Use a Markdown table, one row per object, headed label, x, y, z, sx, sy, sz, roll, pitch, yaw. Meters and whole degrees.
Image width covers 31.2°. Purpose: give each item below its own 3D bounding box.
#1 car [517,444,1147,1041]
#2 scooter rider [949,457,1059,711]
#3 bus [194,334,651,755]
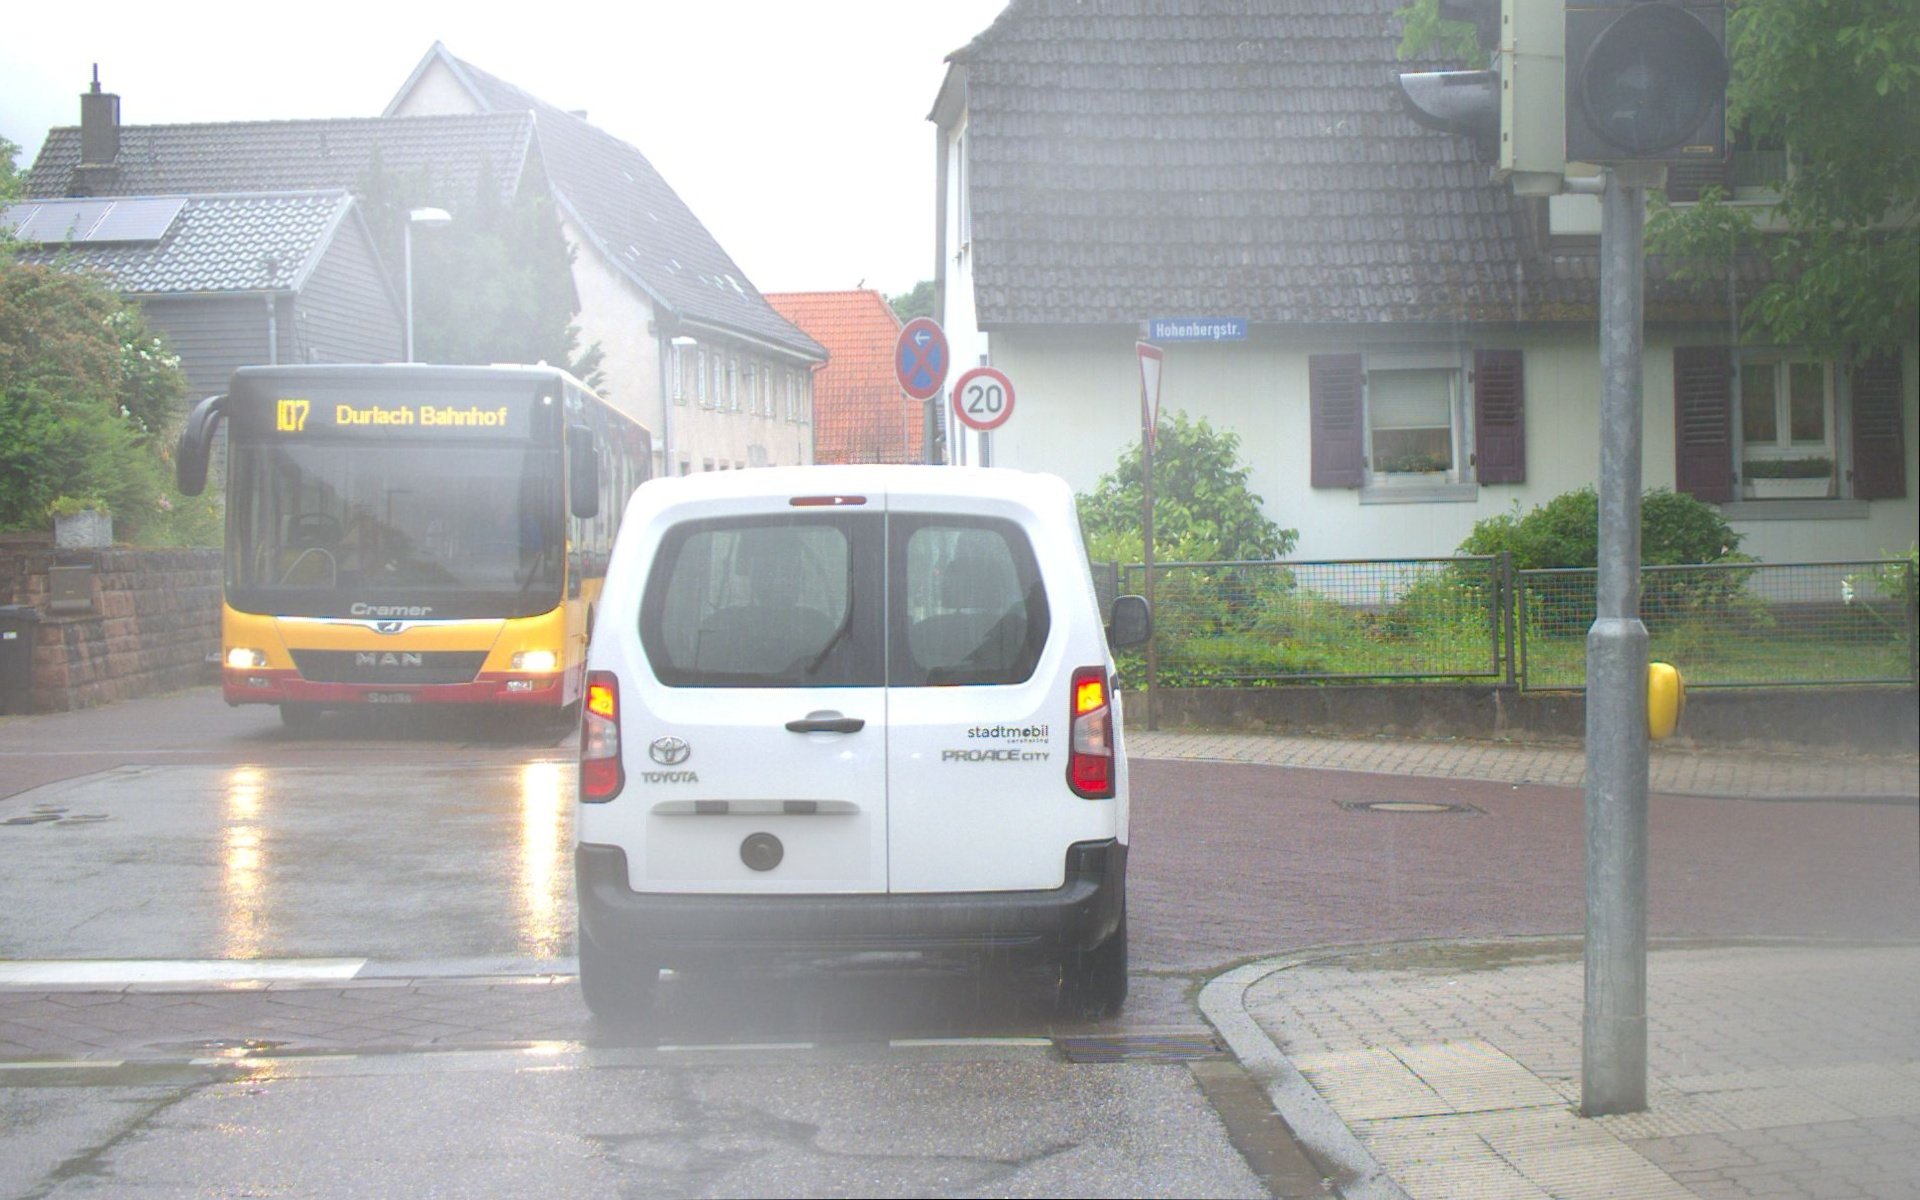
| label | x | y | z | sx | sy | sz | roll | pitch | yaw |
| --- | --- | --- | --- | --- | --- | --- | --- | --- | --- |
| car | -0.344 | 0.391 | 12.301 | 1.894 | 1.787 | 3.813 | 0 | 1 | 1 |
| scooter rider | 0.304 | -0.118 | 23.758 | 0.731 | 1.727 | 0.518 | -1 | 2 | 1 |
| bus | -4.370 | -0.670 | 30.600 | 2.649 | 2.989 | 12.195 | 0 | 3 | -2 |
